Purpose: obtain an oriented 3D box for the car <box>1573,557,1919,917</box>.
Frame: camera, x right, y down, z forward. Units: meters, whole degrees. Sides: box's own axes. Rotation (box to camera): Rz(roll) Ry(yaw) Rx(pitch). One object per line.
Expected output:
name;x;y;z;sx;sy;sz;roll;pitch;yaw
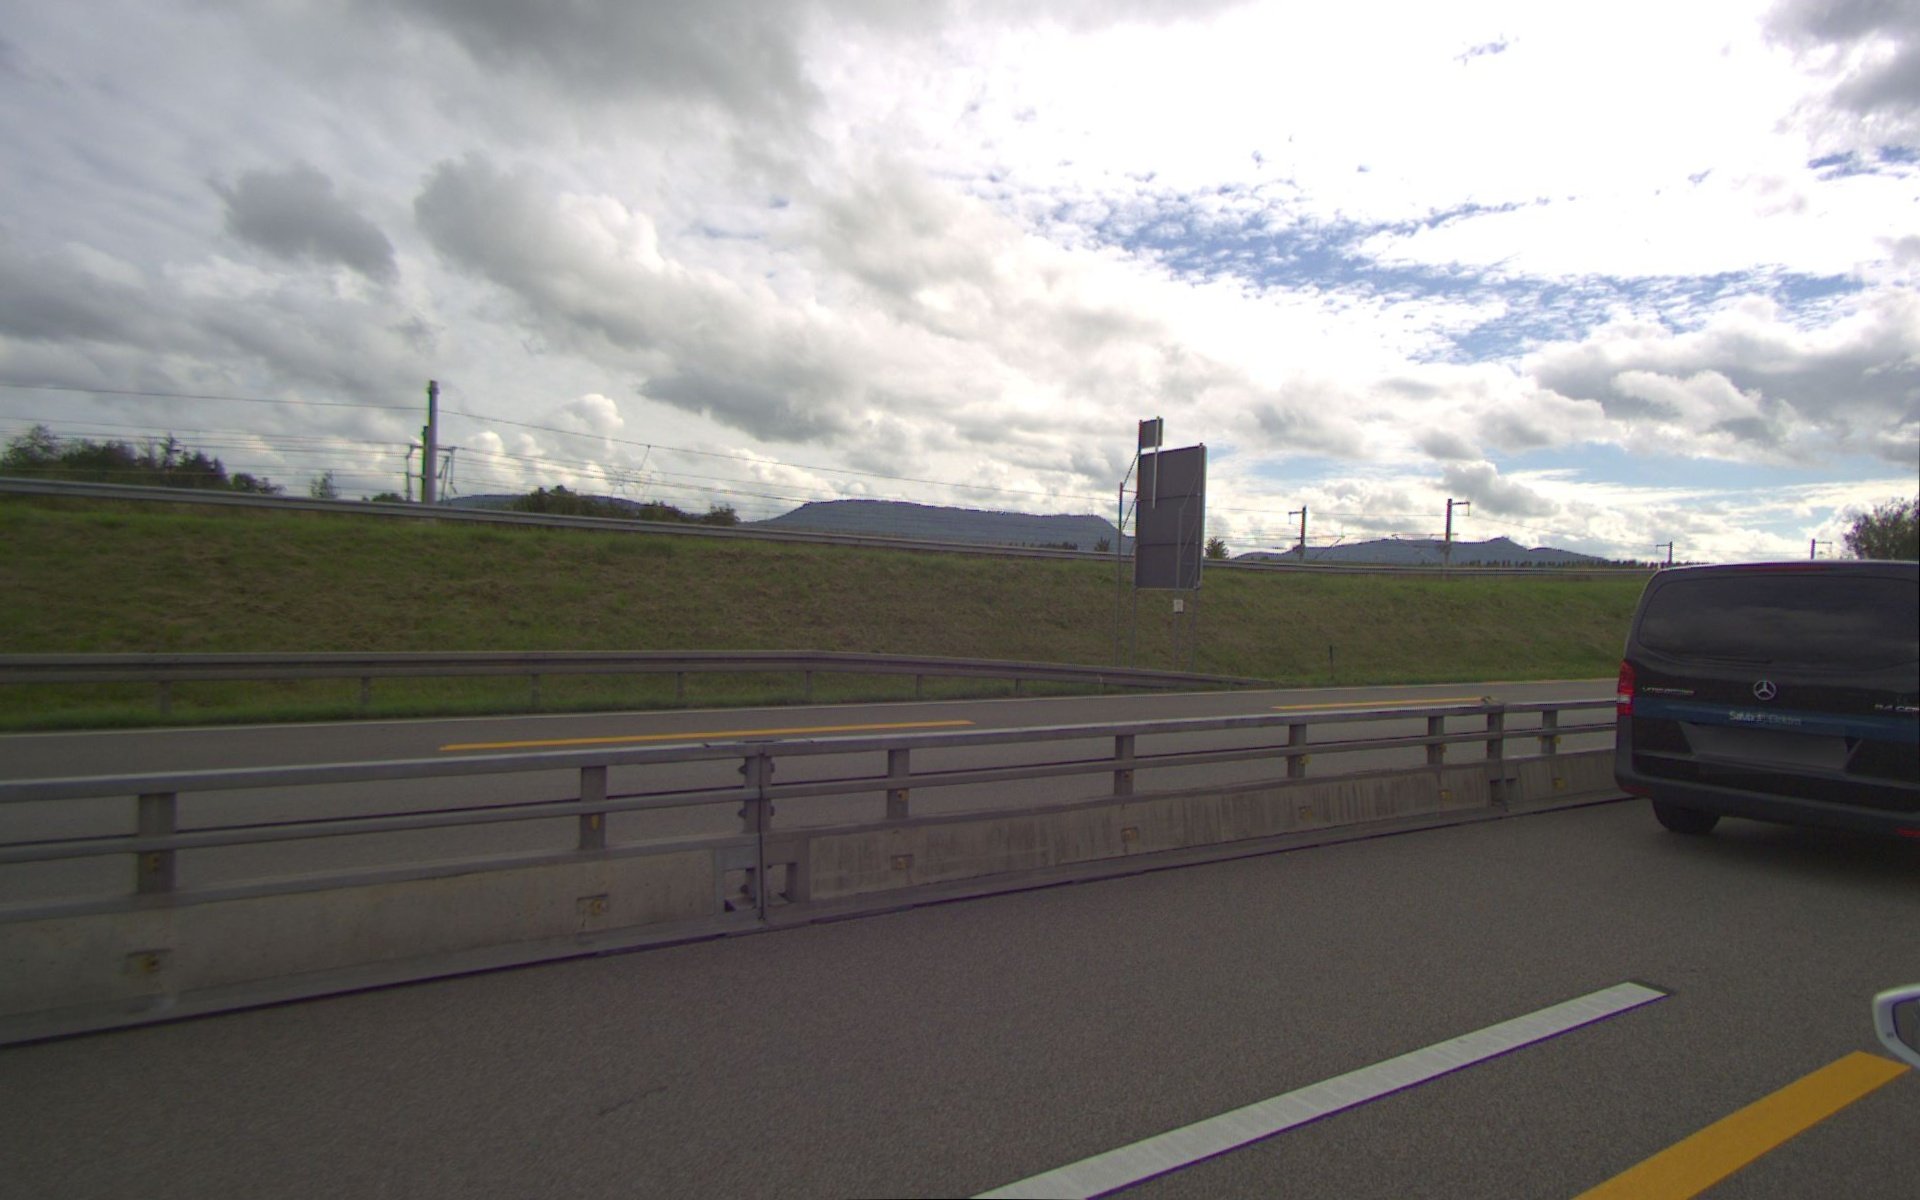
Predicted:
car;6.999;0.782;7.284;5.544;1.867;1.984;2;-1;-30
